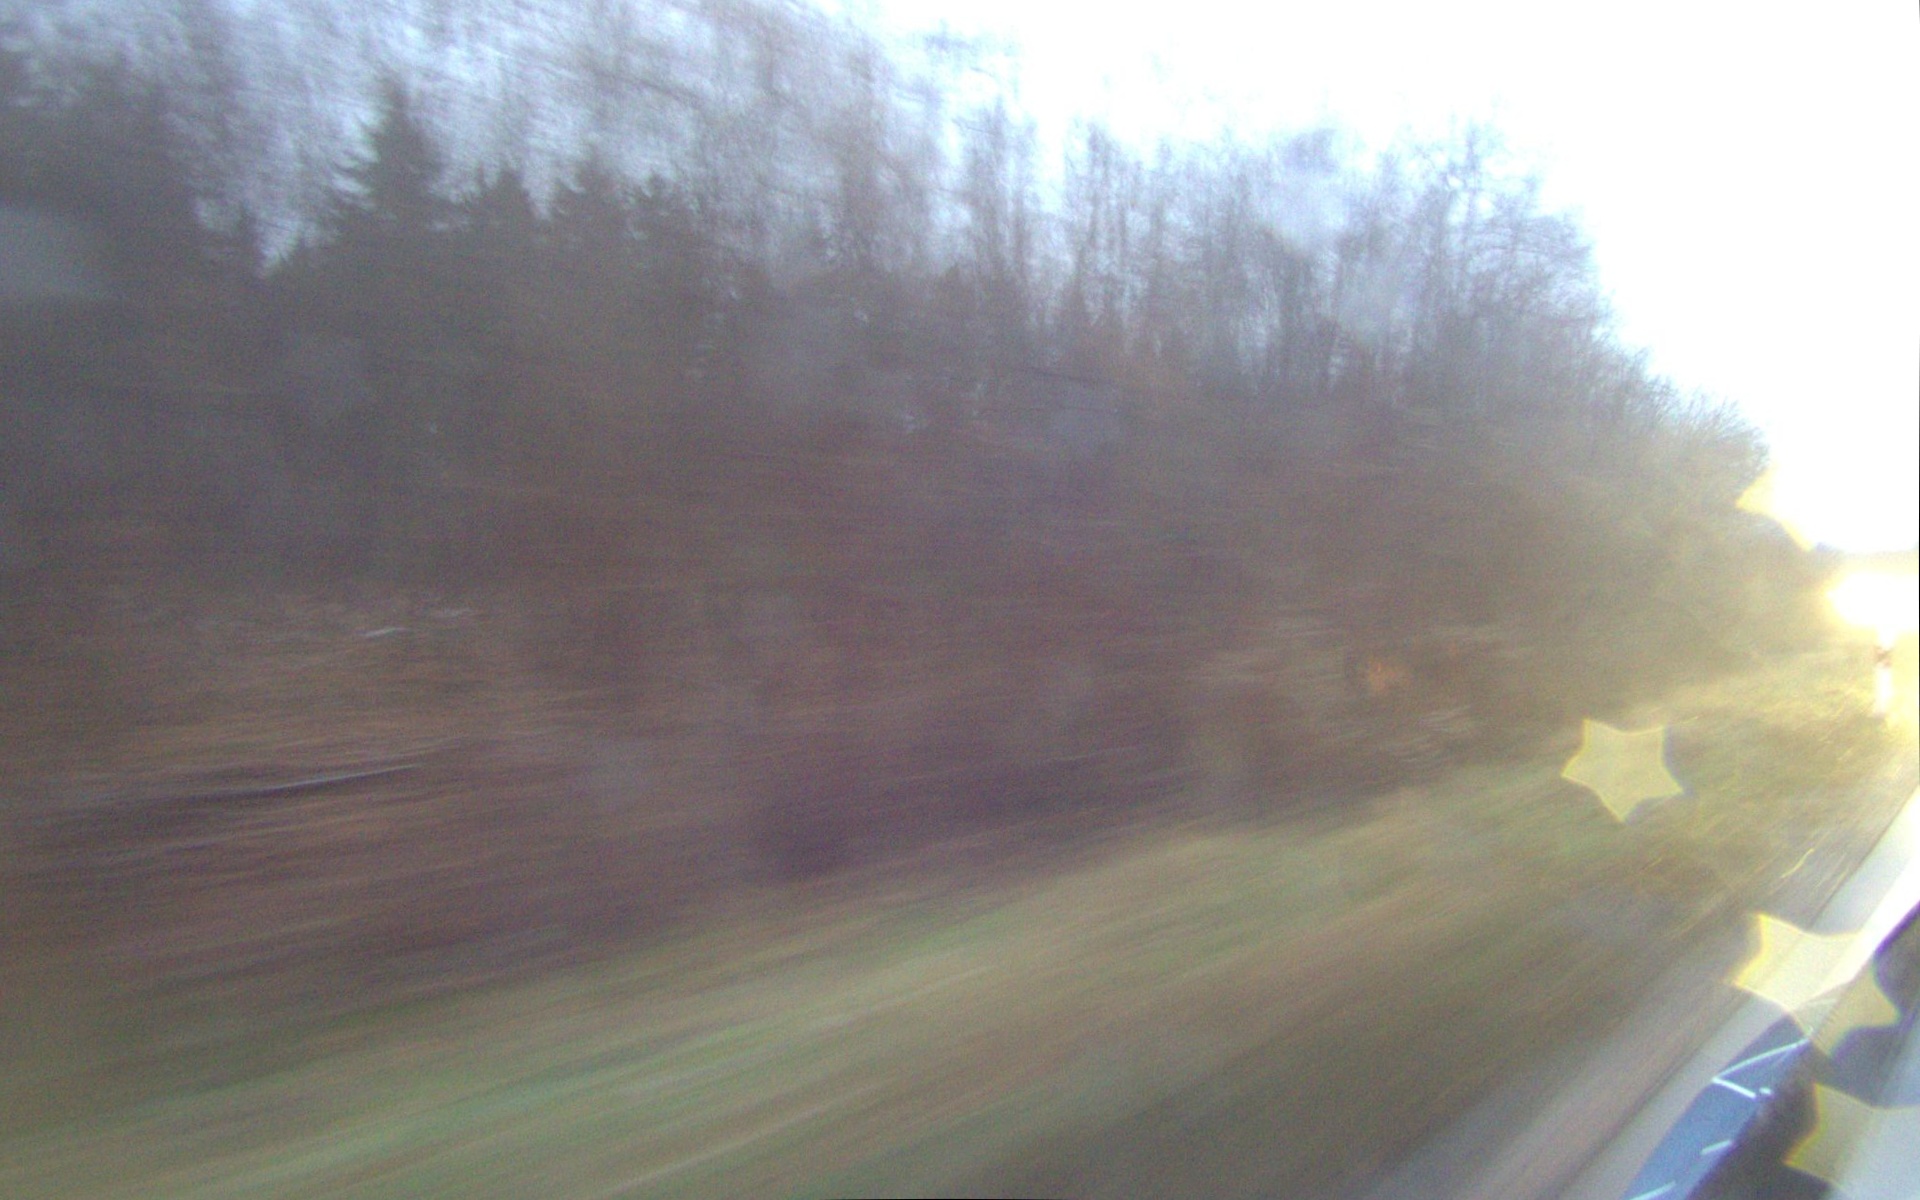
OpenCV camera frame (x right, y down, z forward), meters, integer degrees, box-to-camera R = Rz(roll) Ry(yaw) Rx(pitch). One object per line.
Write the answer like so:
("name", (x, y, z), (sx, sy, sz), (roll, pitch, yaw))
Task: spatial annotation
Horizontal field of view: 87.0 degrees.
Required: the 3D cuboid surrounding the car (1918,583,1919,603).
("car", (88.085, -0.620, 91.648), (1.695, 1.752, 3.943), (0, 1, 40))
